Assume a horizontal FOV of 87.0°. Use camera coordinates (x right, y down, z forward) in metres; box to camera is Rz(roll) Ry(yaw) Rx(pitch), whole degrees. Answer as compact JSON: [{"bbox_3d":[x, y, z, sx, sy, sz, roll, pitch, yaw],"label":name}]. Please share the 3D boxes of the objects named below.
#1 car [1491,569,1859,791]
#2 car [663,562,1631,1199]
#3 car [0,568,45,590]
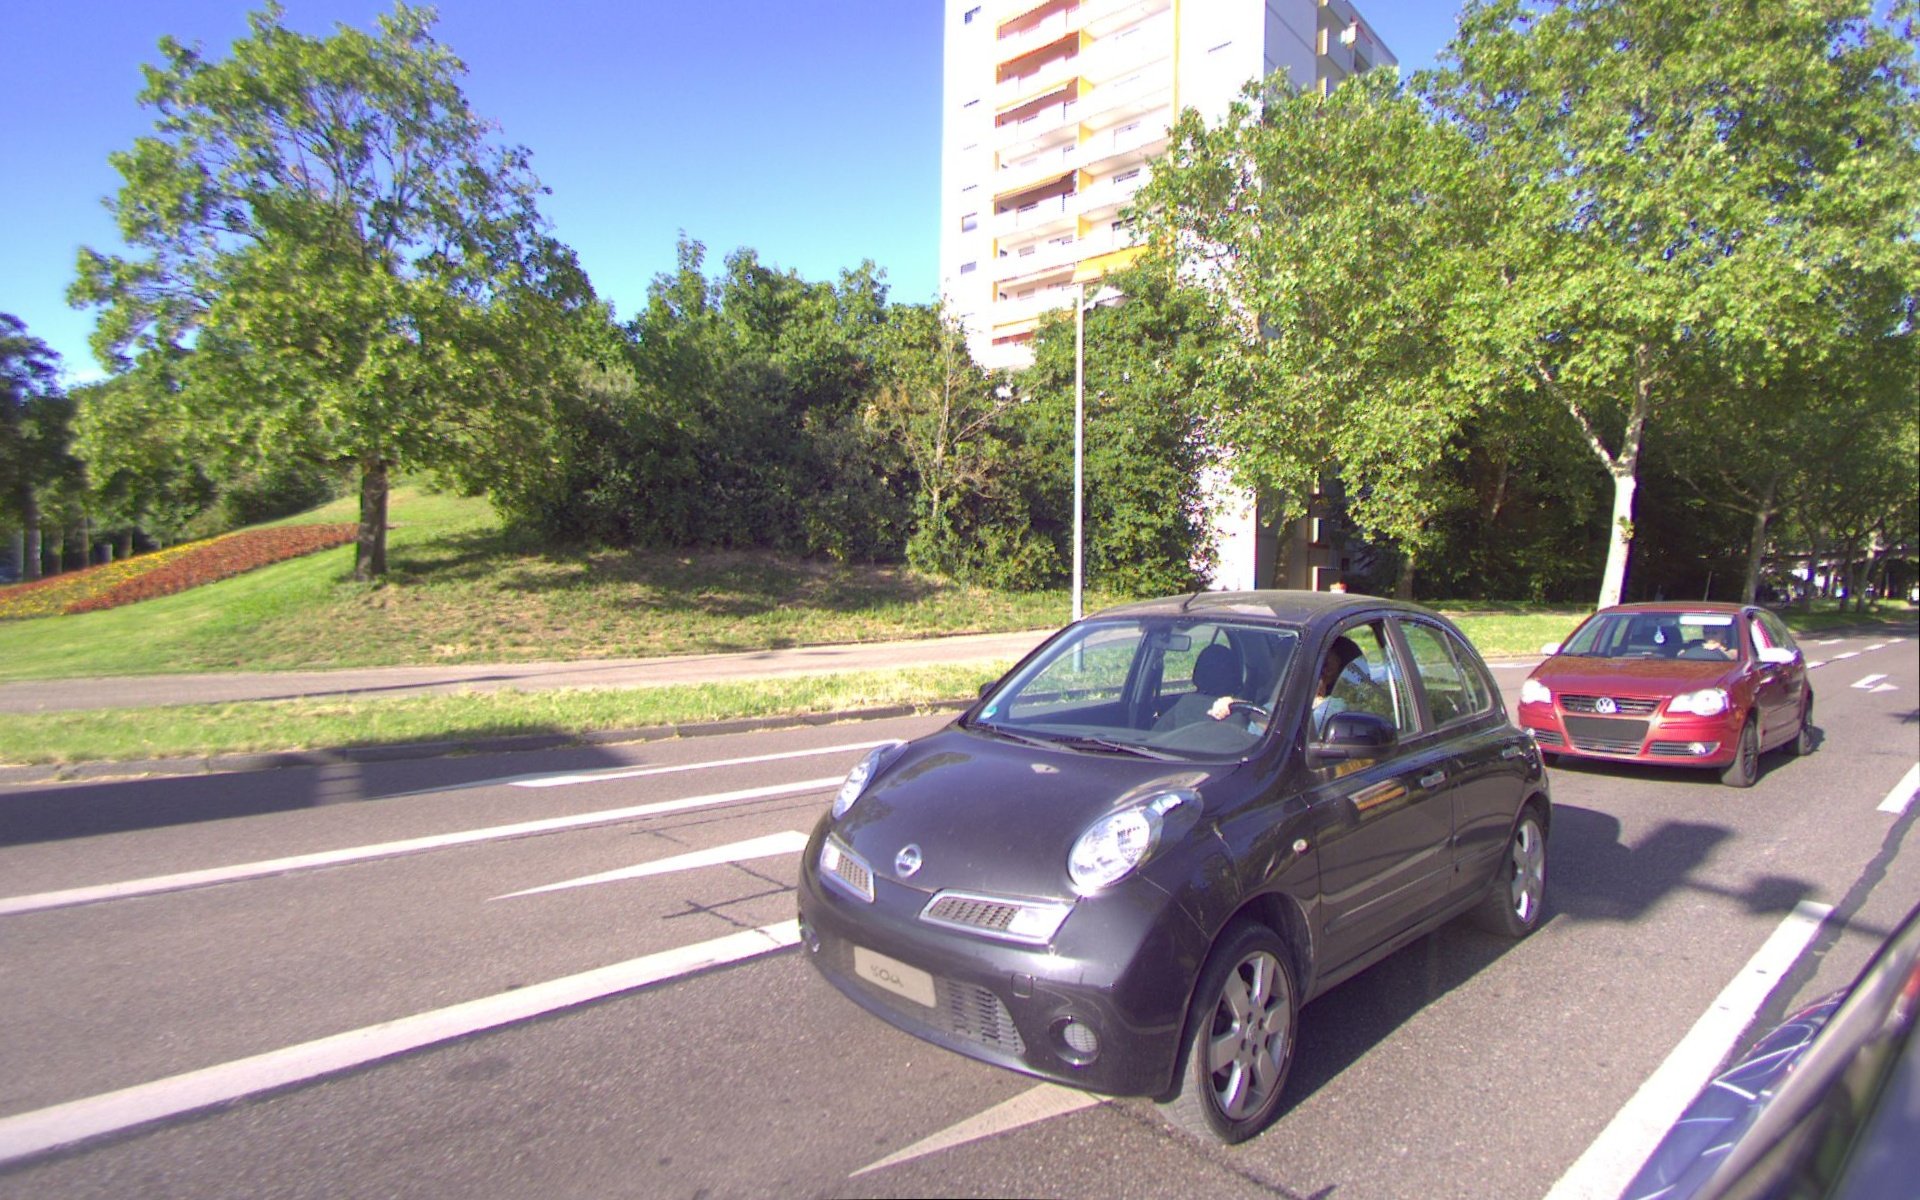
[{"bbox_3d":[6.802,0.553,9.412,4.644,1.578,1.770,0,0,-41],"label":"car"},{"bbox_3d":[1.236,0.652,4.341,4.544,1.501,1.737,0,1,-43],"label":"car"},{"bbox_3d":[-77.791,-1.724,83.081,1.958,1.754,4.829,0,1,-15],"label":"car"}]
